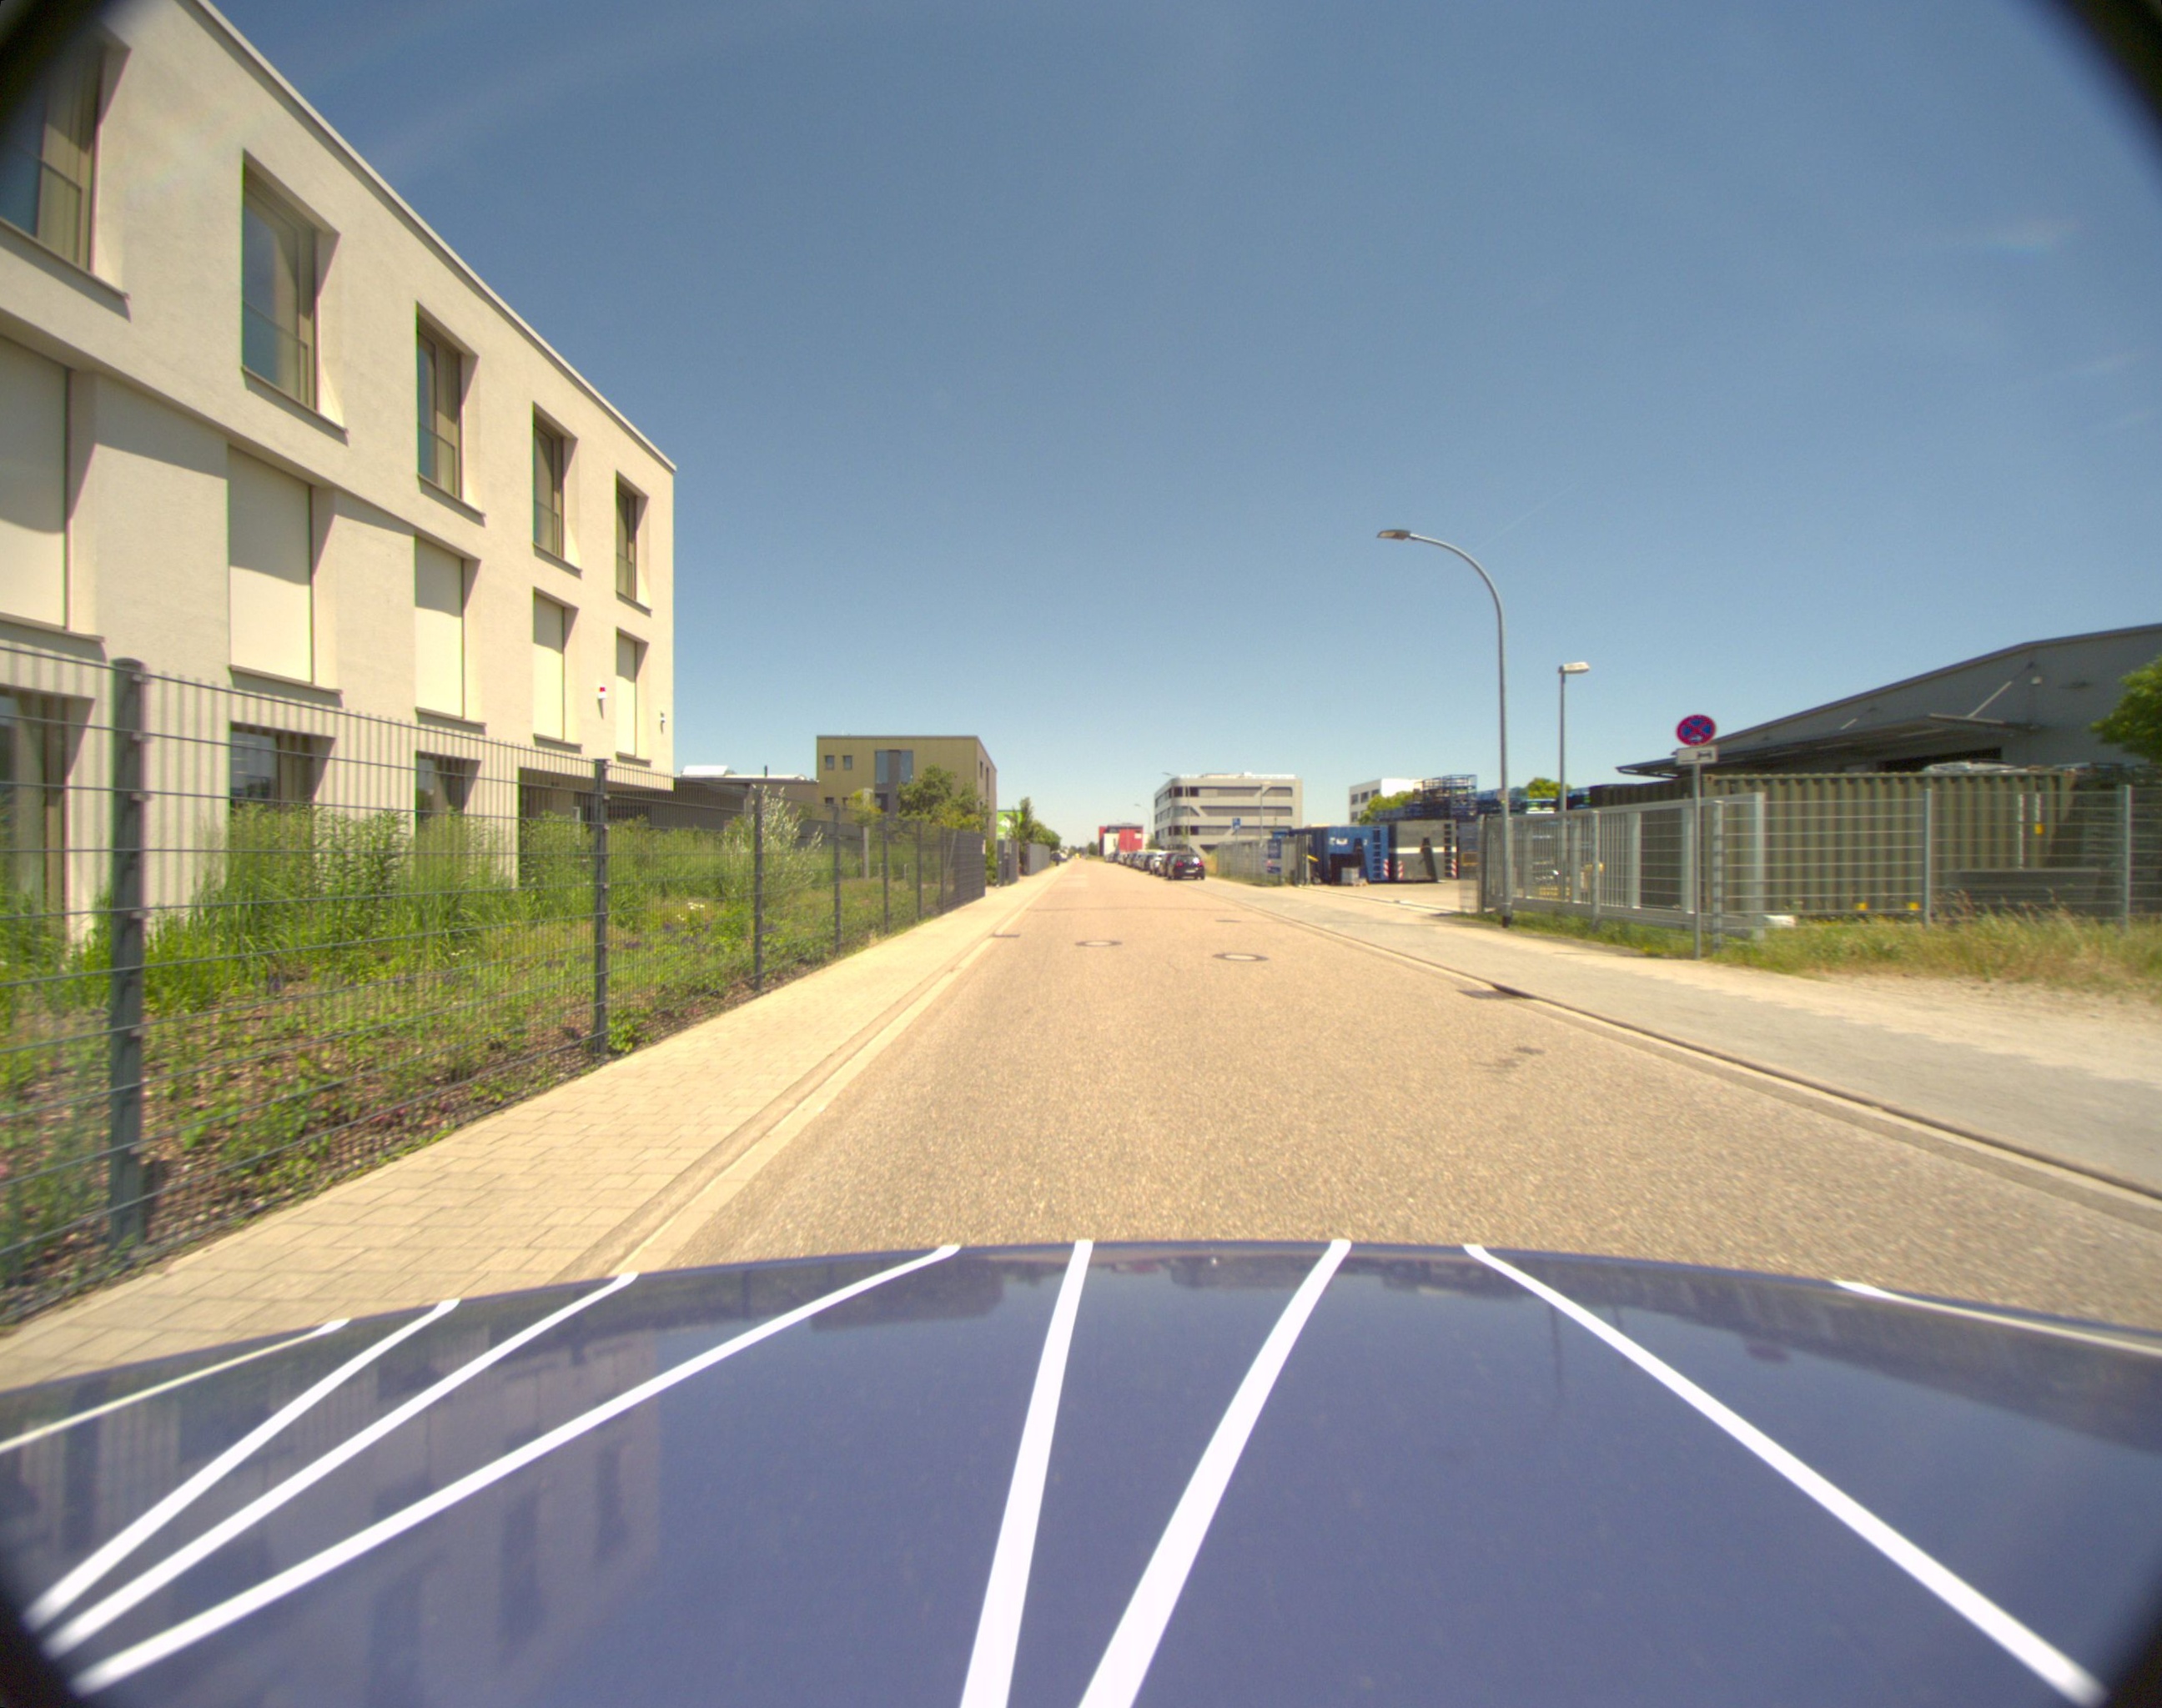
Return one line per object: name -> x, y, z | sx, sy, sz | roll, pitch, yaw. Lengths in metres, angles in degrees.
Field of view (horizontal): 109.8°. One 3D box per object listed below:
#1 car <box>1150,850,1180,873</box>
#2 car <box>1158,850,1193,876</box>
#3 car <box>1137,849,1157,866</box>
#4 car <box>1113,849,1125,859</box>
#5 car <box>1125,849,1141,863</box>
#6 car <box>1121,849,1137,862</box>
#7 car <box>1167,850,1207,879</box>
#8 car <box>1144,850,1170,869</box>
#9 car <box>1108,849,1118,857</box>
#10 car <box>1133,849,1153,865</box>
car -> 5.932, 0.511, 54.022 | 1.772, 1.521, 3.777 | -2, 1, 1
car -> 6.006, 0.536, 48.805 | 1.772, 1.521, 3.777 | -2, 1, 1
car -> 6.362, 0.305, 73.626 | 1.660, 1.572, 3.777 | -2, 1, 1
car -> 6.257, -0.041, 124.872 | 1.772, 1.521, 3.777 | -2, 1, 1
car -> 6.294, 0.250, 92.318 | 1.772, 1.521, 3.777 | -2, 1, 1
car -> 6.328, 0.177, 100.290 | 1.772, 1.521, 3.777 | -2, 1, 1
car -> 5.923, 0.574, 42.797 | 1.695, 1.481, 3.660 | -2, 1, 1
car -> 6.241, 0.424, 62.556 | 1.772, 1.462, 3.777 | -3, 1, 1
car -> 6.345, -0.291, 152.309 | 1.772, 1.521, 3.777 | -2, 1, 1
car -> 6.348, 0.277, 78.333 | 1.772, 1.521, 3.777 | -2, 1, 1
